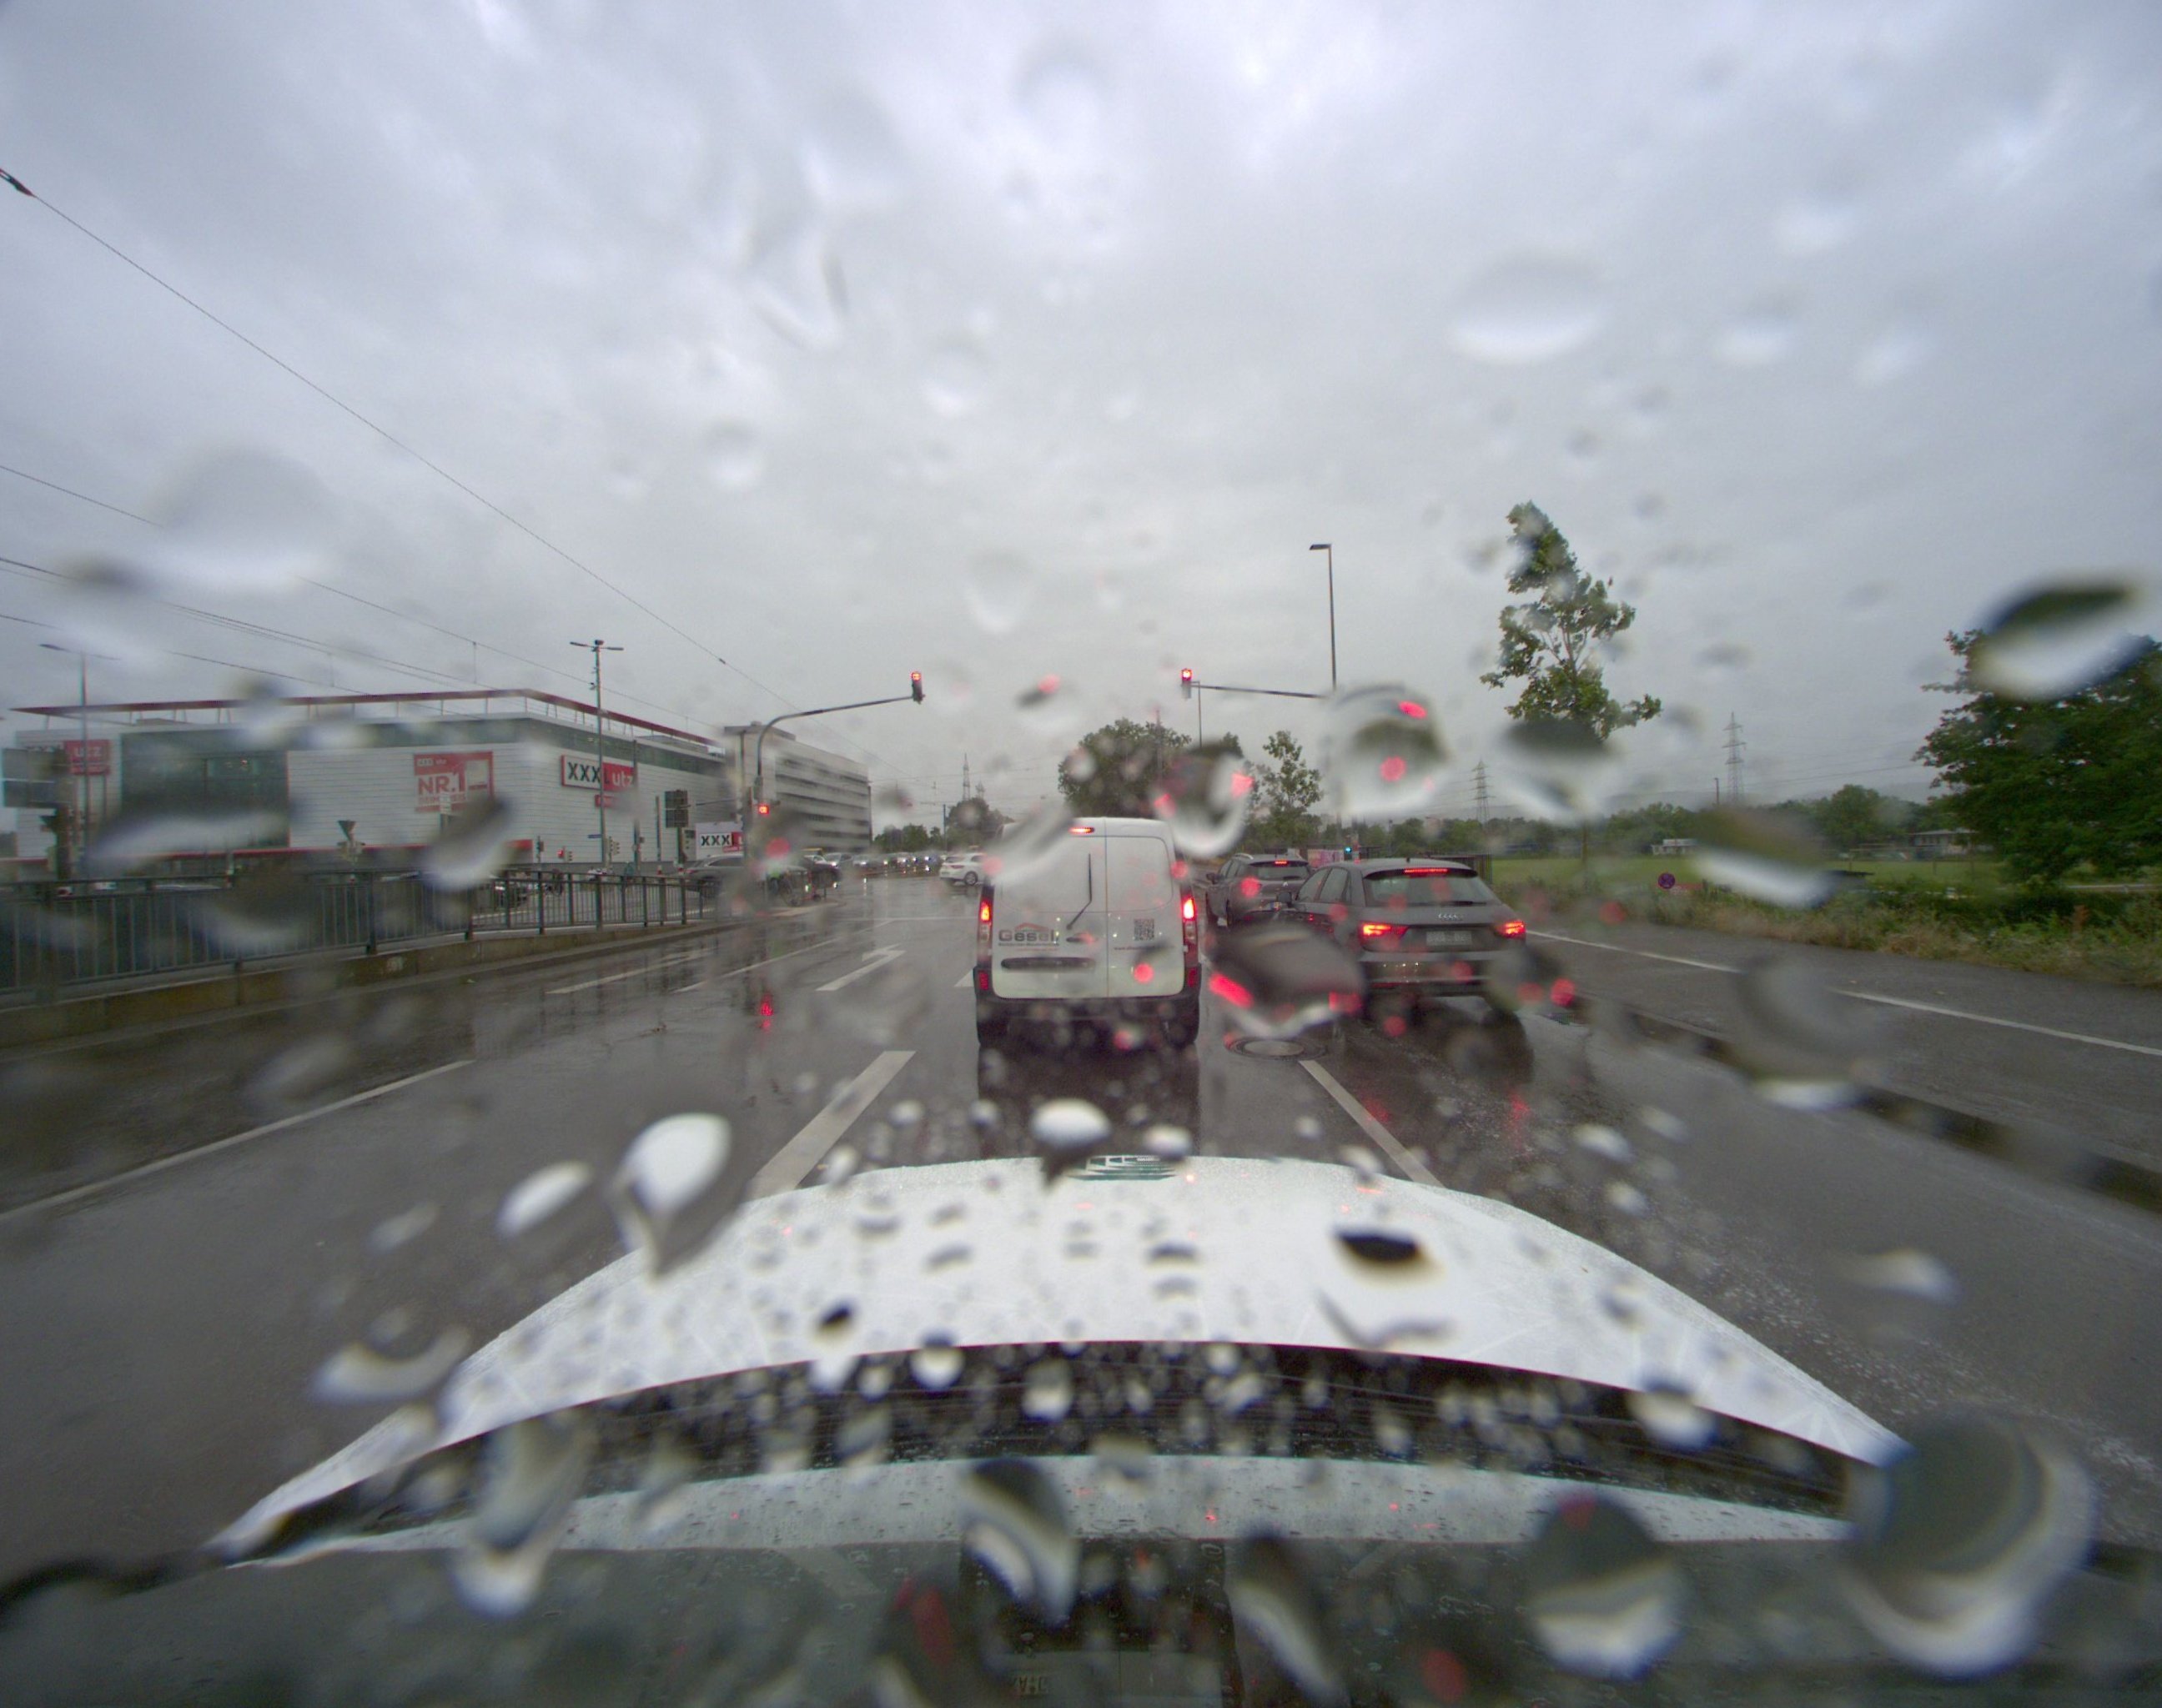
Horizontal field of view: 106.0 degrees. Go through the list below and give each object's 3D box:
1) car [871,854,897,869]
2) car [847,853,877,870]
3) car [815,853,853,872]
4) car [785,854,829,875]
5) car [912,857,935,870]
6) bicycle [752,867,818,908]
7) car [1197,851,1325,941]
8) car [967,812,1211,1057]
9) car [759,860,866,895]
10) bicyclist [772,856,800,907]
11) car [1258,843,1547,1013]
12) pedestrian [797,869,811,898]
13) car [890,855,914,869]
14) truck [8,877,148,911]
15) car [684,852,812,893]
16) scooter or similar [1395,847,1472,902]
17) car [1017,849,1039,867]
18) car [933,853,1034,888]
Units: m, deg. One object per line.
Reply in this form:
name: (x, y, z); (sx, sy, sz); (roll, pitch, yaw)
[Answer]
car: (-18.876, 0.752, 78.143); (1.554, 1.426, 3.570); (1, -1, 2)
car: (-19.049, 0.671, 71.062); (1.554, 1.426, 3.570); (1, -1, 2)
car: (-19.335, 0.675, 63.828); (1.704, 1.426, 3.810); (1, -1, 2)
car: (-19.432, 0.722, 57.920); (1.704, 1.426, 3.810); (1, -1, 2)
car: (-17.719, 1.079, 91.924); (1.704, 1.426, 3.810); (1, -1, 2)
bicycle: (-8.696, 0.961, 23.963); (1.768, 1.137, 0.514); (0, 0, -41)
car: (3.323, 0.709, 15.709); (1.678, 1.508, 3.921); (0, 0, 1)
car: (0.009, 0.550, 7.973); (1.749, 1.750, 4.166); (-1, 1, -2)
car: (-12.300, 1.091, 37.569); (4.500, 1.502, 1.706); (1, -1, -14)
bicyclist: (-8.685, 0.791, 23.962); (0.608, 1.491, 0.593); (0, -1, -39)
car: (3.096, 0.659, 8.669); (1.592, 1.366, 3.629); (-2, -1, 0)
pedestrian: (-8.828, 0.947, 25.983); (0.314, 0.897, 0.380); (1, 0, -1)
car: (-18.608, 0.881, 84.628); (1.554, 1.426, 3.570); (1, -1, 2)
truck: (-60.900, 2.435, 49.513); (5.859, 1.942, 2.012); (1, -1, 0)
car: (-12.990, 0.747, 32.071); (4.509, 1.502, 1.703); (1, -1, -20)
scooter or similar: (8.522, 0.461, 19.873); (0.687, 1.211, 3.022); (-2, 0, 3)
car: (-5.144, 0.432, 79.430); (1.942, 1.662, 4.461); (0, -1, -1)
car: (-4.436, 0.772, 37.494); (4.294, 1.502, 1.800); (2, -1, -39)
